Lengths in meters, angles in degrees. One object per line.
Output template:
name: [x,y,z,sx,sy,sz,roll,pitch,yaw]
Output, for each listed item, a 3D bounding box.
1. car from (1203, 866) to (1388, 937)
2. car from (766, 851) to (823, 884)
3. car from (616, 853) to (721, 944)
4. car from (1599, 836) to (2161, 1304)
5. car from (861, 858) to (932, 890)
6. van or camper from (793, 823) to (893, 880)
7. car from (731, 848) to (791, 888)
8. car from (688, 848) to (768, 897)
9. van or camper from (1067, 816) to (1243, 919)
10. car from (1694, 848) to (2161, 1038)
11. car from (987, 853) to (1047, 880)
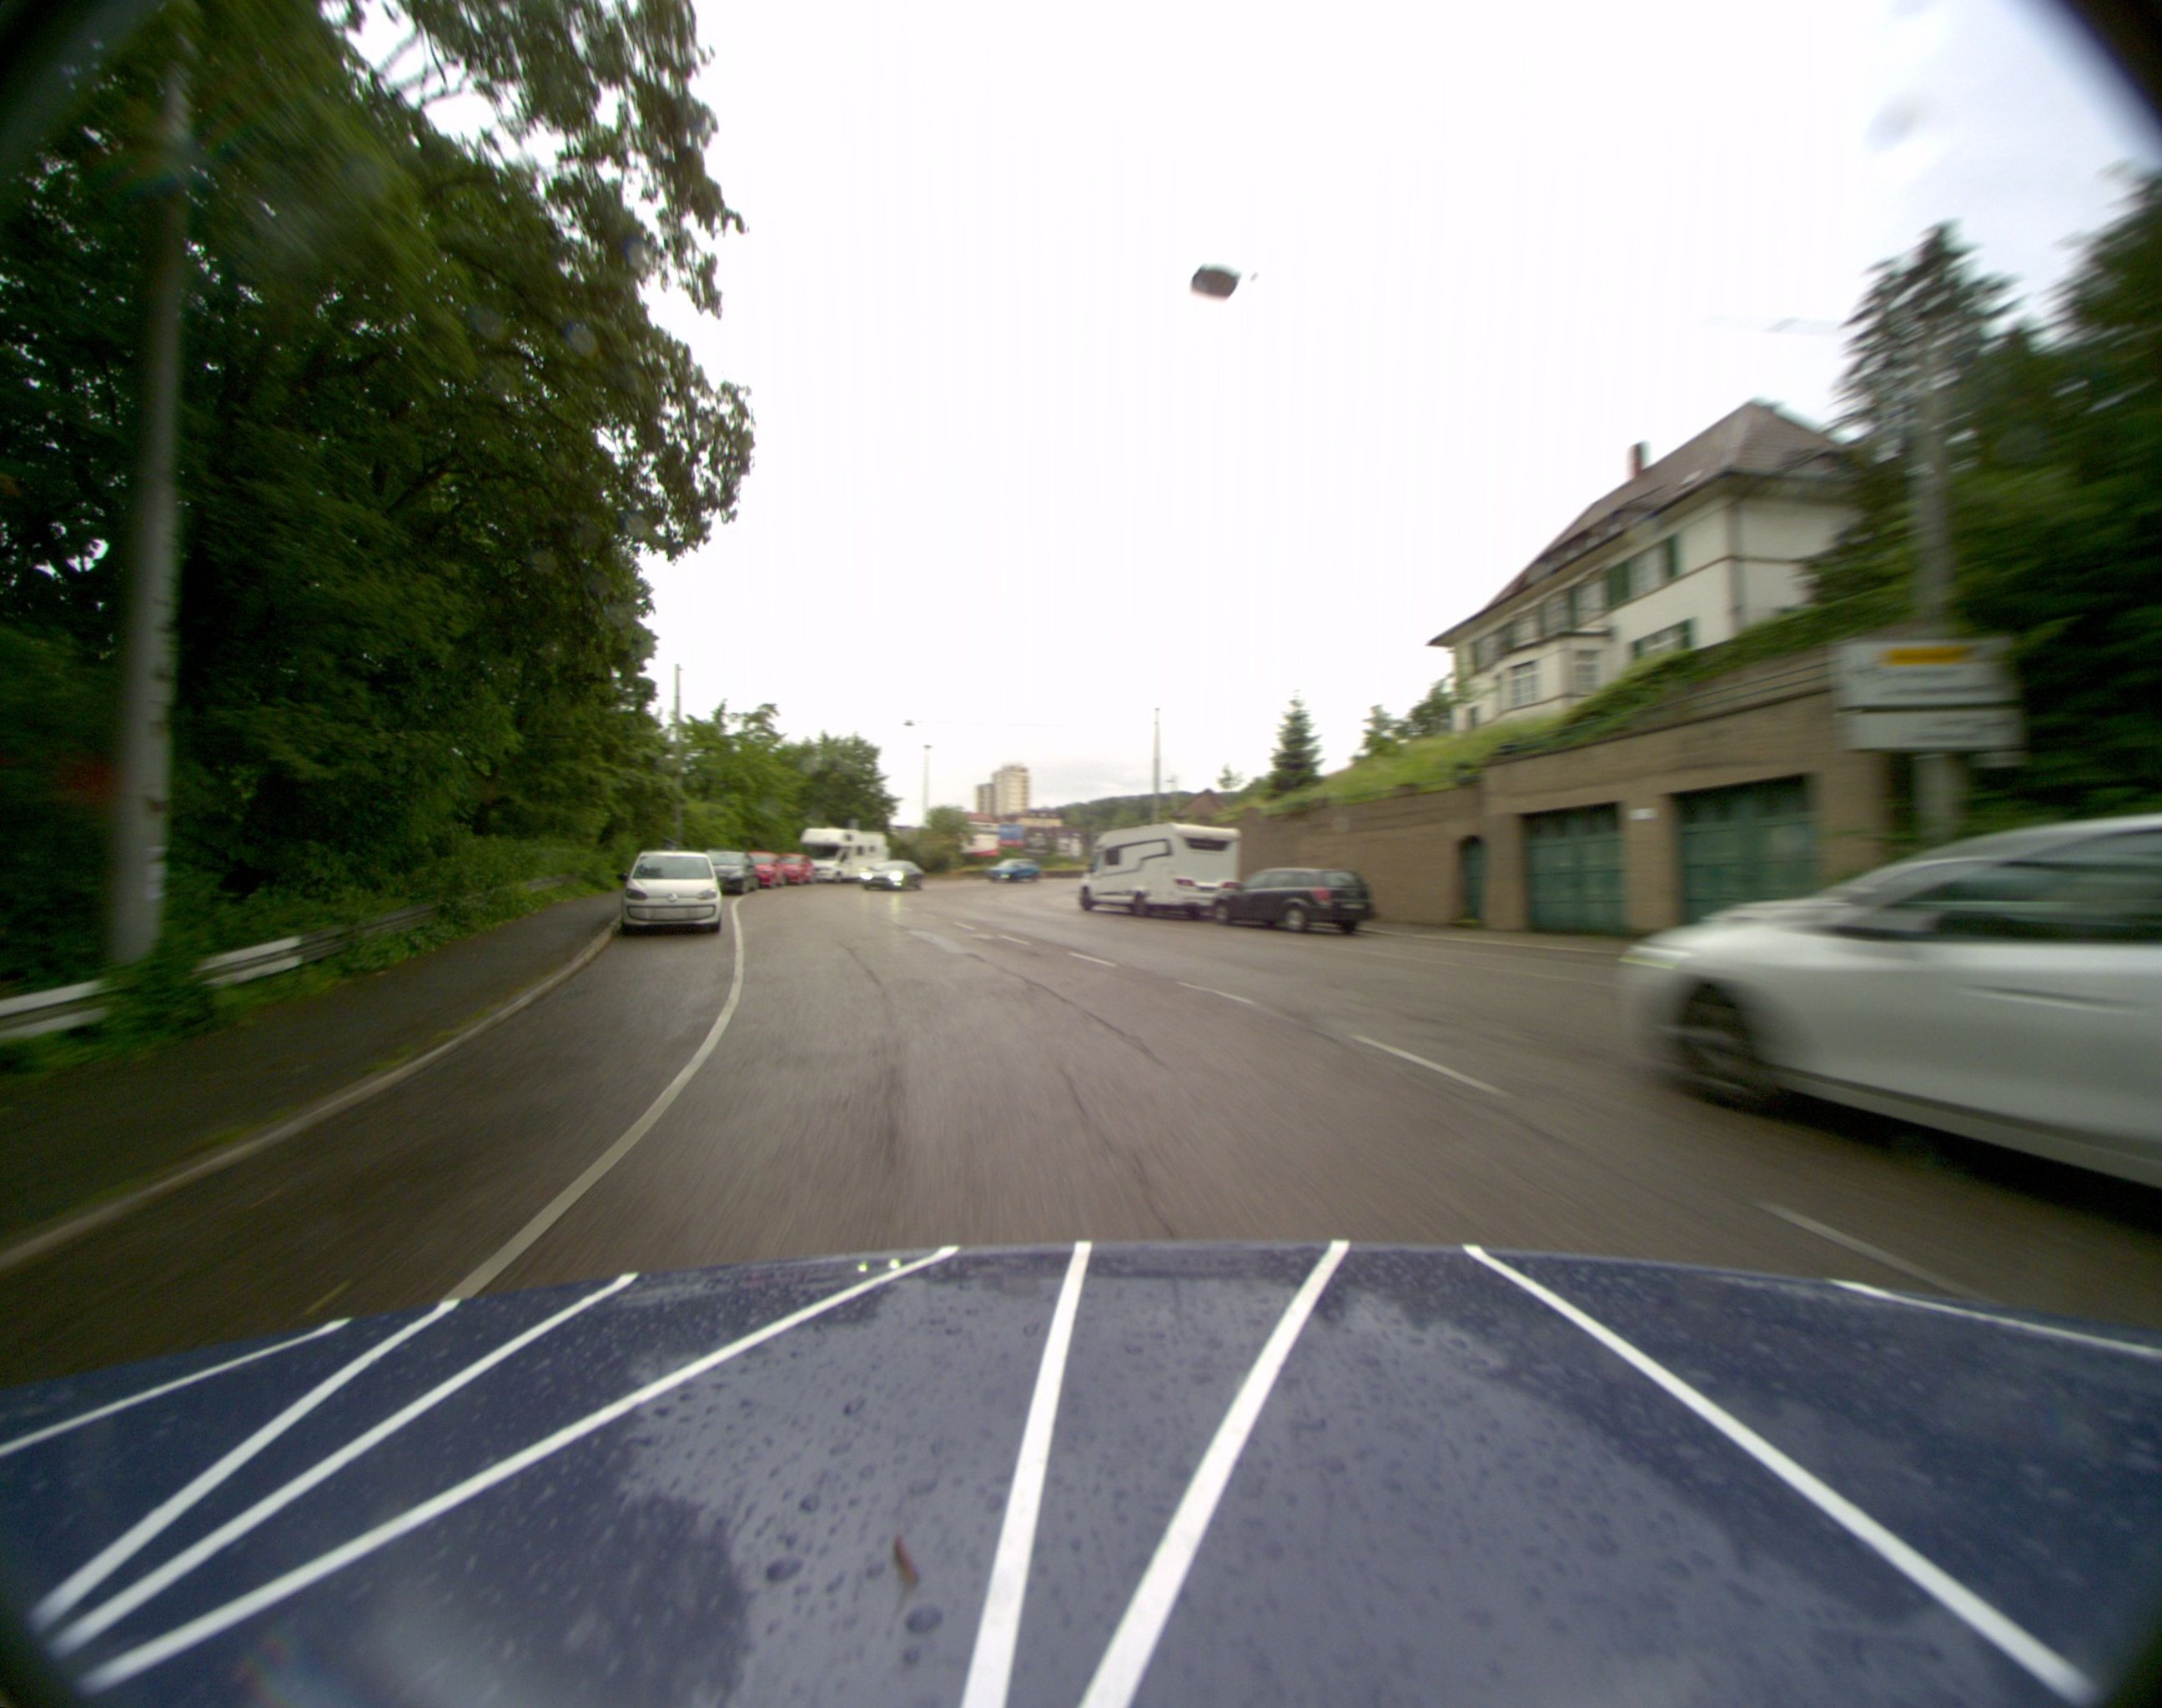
car: [4.952,1.074,18.182,1.796,1.489,4.363,2,-2,-26]
car: [-13.835,0.650,36.870,1.646,1.452,3.804,3,-1,-7]
car: [-7.981,0.755,14.828,1.592,1.493,3.658,0,1,-27]
car: [4.492,0.708,2.807,1.804,1.560,4.454,-2,-1,-5]
car: [-8.800,0.945,36.692,1.834,1.383,4.328,2,-1,7]
van or camper: [-13.231,-0.084,42.790,2.393,2.927,6.288,2,0,13]
car: [-13.304,0.587,31.764,1.564,1.504,3.672,2,-1,-12]
car: [-12.184,0.607,26.484,1.725,1.504,4.589,2,-1,-15]
van or camper: [2.066,0.465,24.291,2.166,2.771,7.035,3,-2,-26]
car: [9.011,0.732,7.475,1.705,1.489,4.525,-1,-2,-13]
car: [-4.391,0.902,52.761,1.797,1.599,4.052,-4,-6,40]
